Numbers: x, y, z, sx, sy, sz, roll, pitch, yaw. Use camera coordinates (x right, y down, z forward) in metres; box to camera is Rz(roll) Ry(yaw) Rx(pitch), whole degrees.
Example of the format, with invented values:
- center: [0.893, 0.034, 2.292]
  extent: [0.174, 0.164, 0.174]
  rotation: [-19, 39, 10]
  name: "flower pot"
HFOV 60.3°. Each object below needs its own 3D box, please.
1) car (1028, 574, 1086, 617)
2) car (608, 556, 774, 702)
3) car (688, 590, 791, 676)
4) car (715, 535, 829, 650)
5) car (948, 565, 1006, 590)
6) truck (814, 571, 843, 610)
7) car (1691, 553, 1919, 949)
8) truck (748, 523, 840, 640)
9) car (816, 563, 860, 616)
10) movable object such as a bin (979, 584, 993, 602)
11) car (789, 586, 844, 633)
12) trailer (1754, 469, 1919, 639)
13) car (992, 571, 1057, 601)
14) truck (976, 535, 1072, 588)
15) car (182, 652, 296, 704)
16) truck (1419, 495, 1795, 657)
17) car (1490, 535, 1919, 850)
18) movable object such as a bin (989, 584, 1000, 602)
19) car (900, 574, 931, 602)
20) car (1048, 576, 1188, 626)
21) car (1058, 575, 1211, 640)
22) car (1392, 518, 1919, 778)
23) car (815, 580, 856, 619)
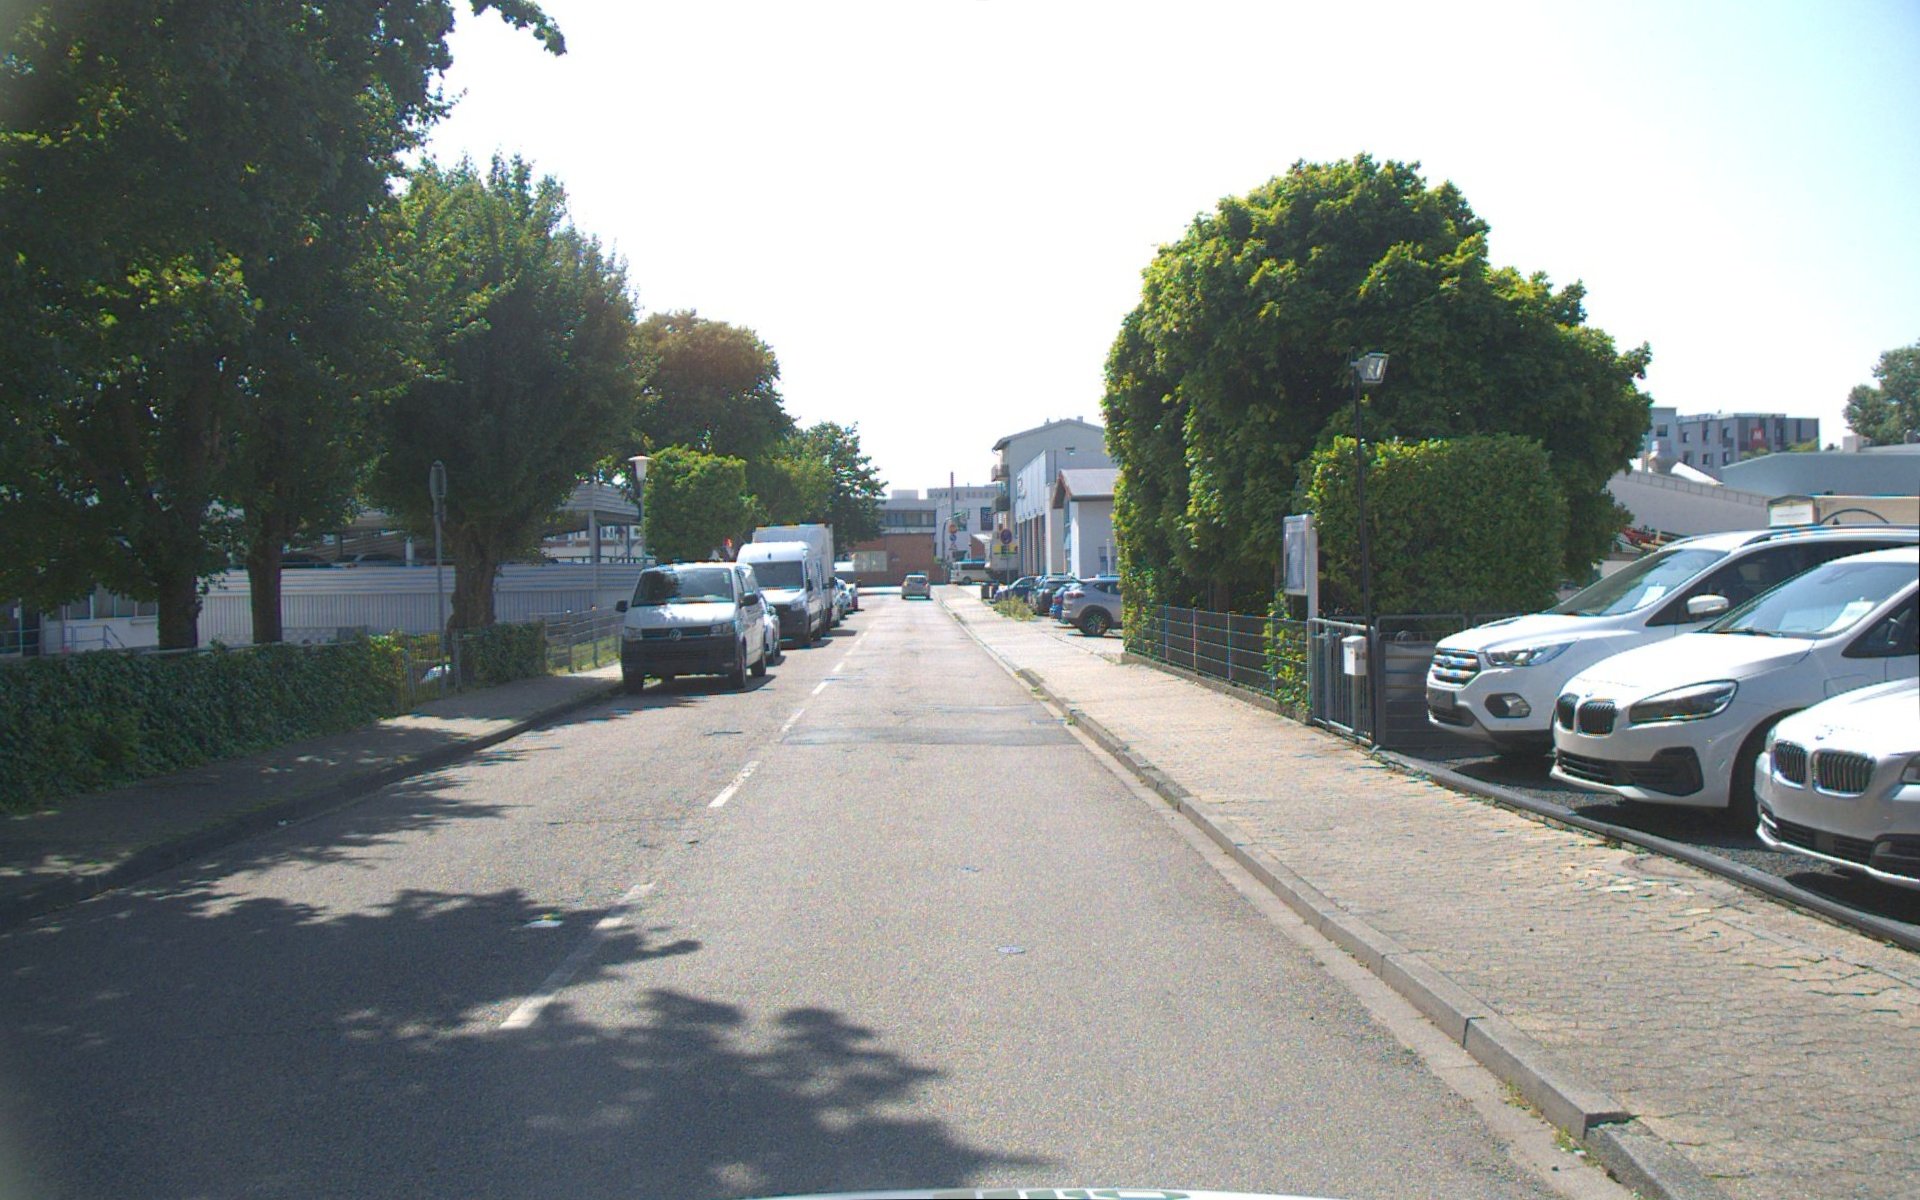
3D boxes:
- center: [3.876, -0.219, 66.907]
  extent: [1.821, 1.595, 4.949]
  rotation: [-2, 1, -2]
  name: "car"
- center: [-4.285, 0.420, 27.142]
  extent: [1.932, 2.048, 5.054]
  rotation: [-3, 0, -2]
  name: "car"
- center: [-4.501, 0.626, 34.311]
  extent: [1.680, 1.570, 4.398]
  rotation: [-3, 0, -3]
  name: "car"
- center: [-4.776, -0.191, 43.119]
  extent: [2.124, 2.641, 6.919]
  rotation: [-3, 0, -1]
  name: "car"
- center: [1.471, -1.970, 143.602]
  extent: [4.587, 1.991, 1.905]
  rotation: [-2, 1, -21]
  name: "car"
- center: [-5.803, -0.443, 73.202]
  extent: [1.116, 1.650, 3.139]
  rotation: [-4, 1, -4]
  name: "truck"
- center: [5.754, 0.463, 7.180]
  extent: [4.320, 1.523, 1.894]
  rotation: [-4, 0, -8]
  name: "car"
- center: [-5.269, -0.561, 53.245]
  extent: [2.633, 3.425, 7.123]
  rotation: [-2, 0, -5]
  name: "truck"
- center: [-5.999, -0.540, 81.986]
  extent: [1.966, 2.407, 5.226]
  rotation: [-4, 1, -4]
  name: "car"
- center: [1.443, -0.404, 91.587]
  extent: [0.557, 0.962, 0.556]
  rotation: [-2, 1, 32]
  name: "movable object such as a bin"
- center: [-5.143, 0.305, 59.778]
  extent: [1.706, 1.547, 4.308]
  rotation: [-2, 1, -2]
  name: "car"
- center: [24.273, -1.178, 40.425]
  extent: [8.159, 3.930, 3.069]
  rotation: [-2, 0, 3]
  name: "trailer"
- center: [3.248, -0.704, 84.045]
  extent: [3.187, 1.423, 1.673]
  rotation: [-2, 1, -2]
  name: "car"
- center: [5.229, -3.166, 135.308]
  extent: [7.223, 3.708, 2.763]
  rotation: [-5, 1, -8]
  name: "truck"
- center: [-24.189, 2.593, 55.653]
  extent: [1.952, 1.467, 4.001]
  rotation: [-2, 1, 2]
  name: "car"
- center: [15.783, -0.584, 40.791]
  extent: [8.105, 3.674, 2.954]
  rotation: [-1, 0, 1]
  name: "truck"
- center: [5.658, 0.400, 9.849]
  extent: [4.320, 1.554, 1.894]
  rotation: [-4, 0, -8]
  name: "car"
- center: [1.915, -0.398, 92.015]
  extent: [0.502, 0.962, 0.488]
  rotation: [-2, 1, 10]
  name: "movable object such as a bin"
- center: [-2.829, -0.748, 104.244]
  extent: [1.852, 1.714, 3.956]
  rotation: [2, 0, -2]
  name: "car"
- center: [5.089, 0.013, 53.546]
  extent: [4.266, 1.466, 1.891]
  rotation: [-2, 1, -3]
  name: "car"
- center: [4.965, 0.194, 47.415]
  extent: [4.117, 1.711, 1.766]
  rotation: [2, 0, -3]
  name: "car"
- center: [5.638, 0.296, 12.285]
  extent: [4.316, 1.682, 1.842]
  rotation: [-2, 0, -4]
  name: "car"
- center: [-5.807, -0.052, 76.818]
  extent: [1.672, 1.652, 3.968]
  rotation: [-3, 1, -6]
  name: "car"
